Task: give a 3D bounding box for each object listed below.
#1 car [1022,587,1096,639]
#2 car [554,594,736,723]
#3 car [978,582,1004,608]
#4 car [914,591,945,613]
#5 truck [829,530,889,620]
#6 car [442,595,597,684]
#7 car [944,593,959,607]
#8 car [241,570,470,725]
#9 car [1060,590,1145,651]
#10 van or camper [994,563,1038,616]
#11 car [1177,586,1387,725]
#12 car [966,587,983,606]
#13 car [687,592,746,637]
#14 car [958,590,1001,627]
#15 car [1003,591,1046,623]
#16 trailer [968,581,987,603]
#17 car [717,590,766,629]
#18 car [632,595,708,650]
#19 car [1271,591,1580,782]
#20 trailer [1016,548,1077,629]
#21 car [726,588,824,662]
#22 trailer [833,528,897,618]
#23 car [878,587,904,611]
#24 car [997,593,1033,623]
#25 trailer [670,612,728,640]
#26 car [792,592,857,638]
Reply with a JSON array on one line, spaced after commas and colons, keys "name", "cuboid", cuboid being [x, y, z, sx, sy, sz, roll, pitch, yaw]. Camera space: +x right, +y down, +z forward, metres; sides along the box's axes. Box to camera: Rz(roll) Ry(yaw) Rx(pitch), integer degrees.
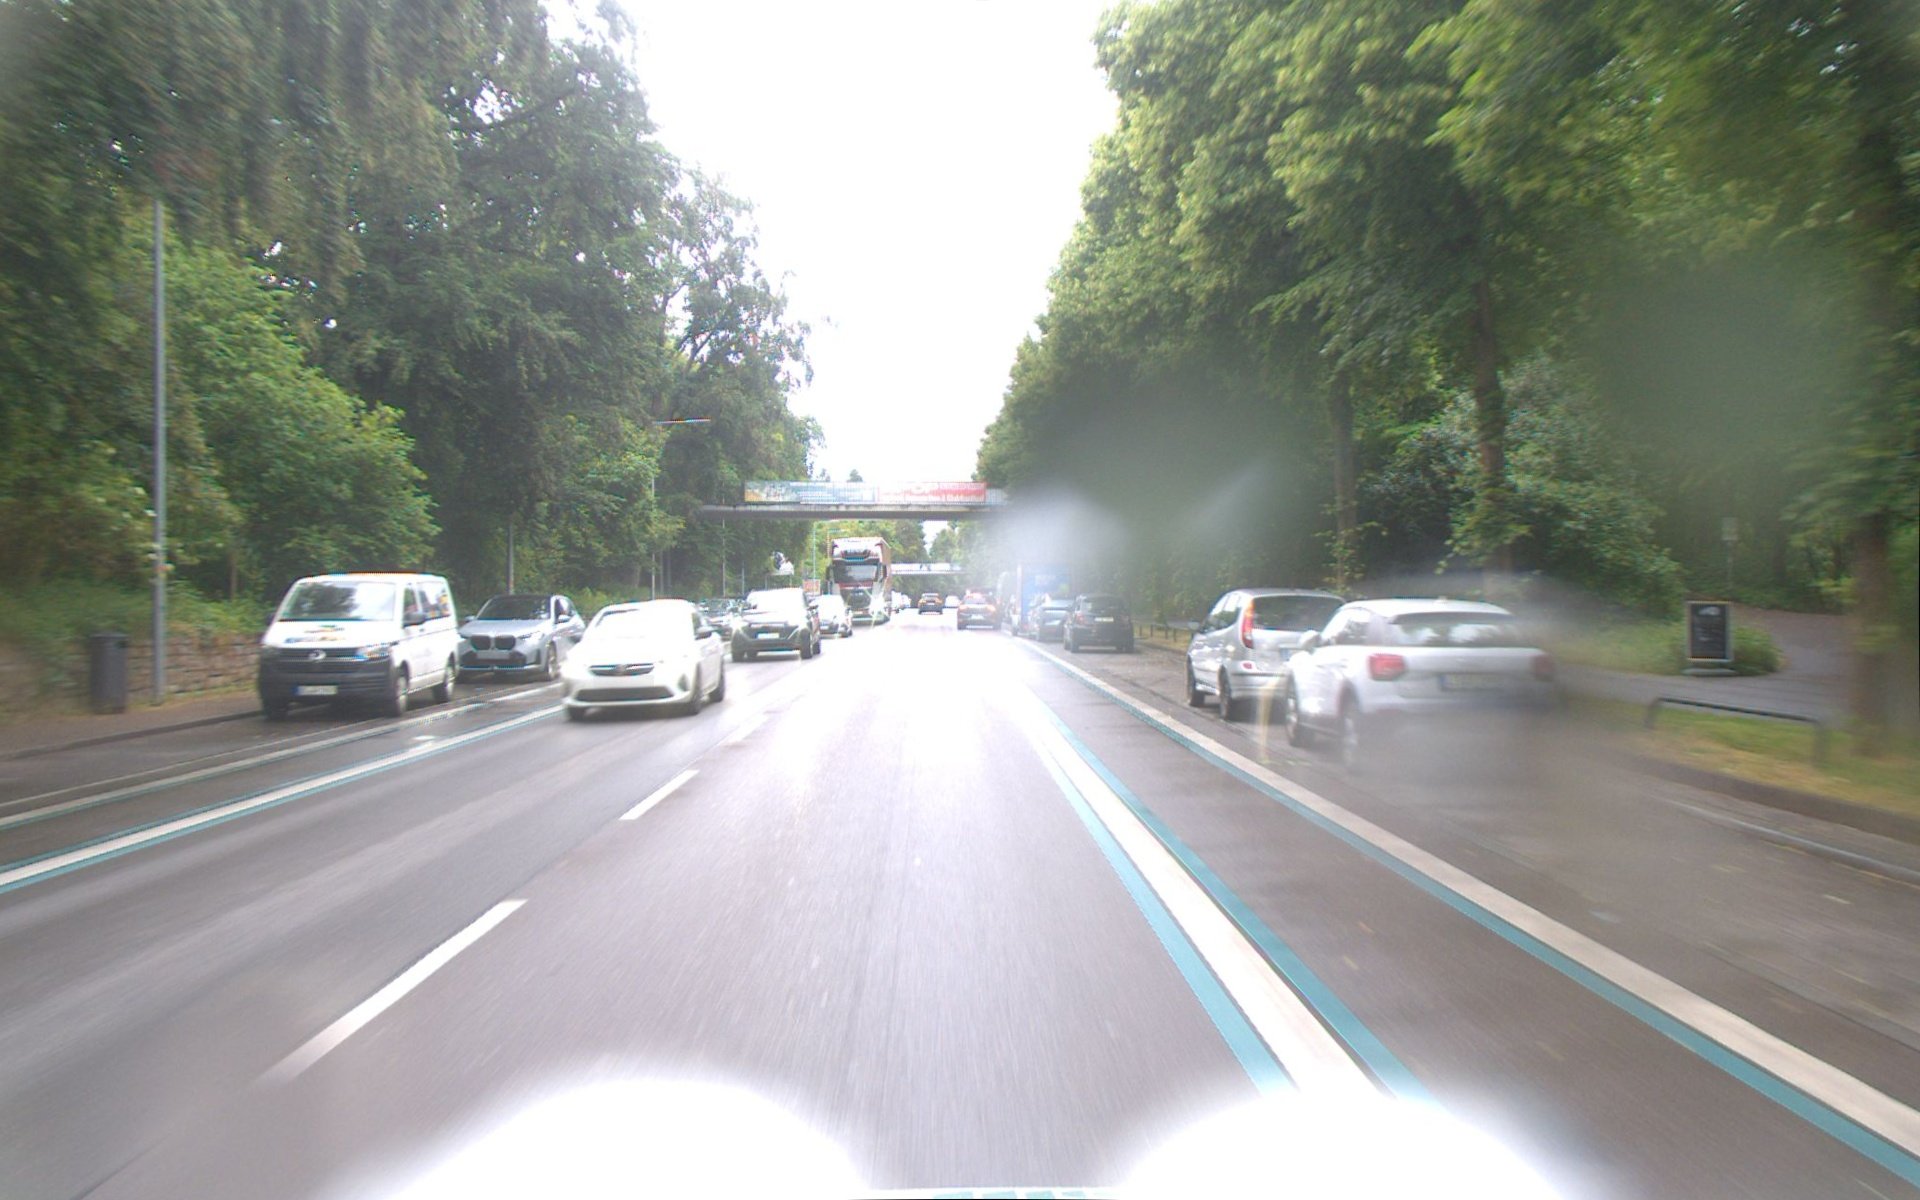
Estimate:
[{"name": "car", "cuboid": [3.173, 0.380, 53.830, 1.862, 1.574, 4.752, 1, 1, -3]}, {"name": "car", "cuboid": [-4.142, 0.708, 22.325, 1.740, 1.491, 4.061, -3, 0, -2]}, {"name": "car", "cuboid": [2.433, -0.401, 130.116, 1.887, 2.057, 4.663, 1, 0, -1]}, {"name": "car", "cuboid": [-2.187, 0.122, 118.777, 2.097, 1.518, 4.496, 0, 0, -3]}, {"name": "truck", "cuboid": [-4.891, -1.187, 80.690, 2.466, 4.117, 4.916, -3, 0, 0]}, {"name": "car", "cuboid": [-8.790, 0.734, 33.409, 1.969, 1.633, 4.778, 0, 0, -2]}, {"name": "car", "cuboid": [-0.980, -0.014, 190.746, 1.696, 1.611, 4.035, -1, 0, -1]}, {"name": "car", "cuboid": [-8.738, 0.594, 24.409, 1.935, 2.040, 5.013, 0, 1, -5]}, {"name": "car", "cuboid": [3.801, 0.521, 44.897, 1.788, 1.529, 4.570, -1, 0, -1]}, {"name": "van or camper", "cuboid": [3.025, -0.579, 90.787, 2.001, 2.777, 6.898, 1, 0, -2]}, {"name": "car", "cuboid": [4.069, 0.632, 21.671, 1.718, 1.624, 4.739, 0, 0, -1]}, {"name": "car", "cuboid": [1.656, -0.423, 190.280, 1.850, 2.164, 4.045, -1, 0, 0]}, {"name": "car", "cuboid": [-8.864, 0.500, 60.553, 1.795, 1.502, 4.037, -1, 1, -4]}, {"name": "car", "cuboid": [0.802, 0.331, 69.981, 1.781, 1.534, 4.139, 0, 0, 0]}, {"name": "car", "cuboid": [3.000, 0.290, 77.550, 1.652, 1.441, 4.195, 0, 0, -2]}, {"name": "trailer", "cuboid": [1.807, -0.816, 173.457, 1.845, 2.203, 3.807, -1, 0, 0]}, {"name": "car", "cuboid": [-9.400, 0.398, 71.431, 1.654, 1.573, 4.231, -1, 1, -2]}, {"name": "car", "cuboid": [-8.743, 0.634, 50.101, 1.753, 1.508, 3.980, -1, 1, -3]}, {"name": "car", "cuboid": [4.249, 0.699, 15.838, 1.663, 1.540, 4.469, 1, 0, 0]}, {"name": "trailer", "cuboid": [3.082, -0.406, 59.782, 1.913, 2.807, 4.006, 0, 0, -1]}, {"name": "car", "cuboid": [-4.429, 0.564, 40.153, 1.921, 1.645, 4.465, -2, 0, -1]}, {"name": "trailer", "cuboid": [-4.938, -1.384, 88.287, 2.633, 4.333, 12.767, -3, 0, -1]}, {"name": "car", "cuboid": [-5.219, -0.115, 125.522, 1.797, 1.695, 4.179, -3, 0, -1]}, {"name": "car", "cuboid": [2.754, 0.382, 83.639, 1.651, 1.441, 4.099, 0, 0, -1]}, {"name": "trailer", "cuboid": [-8.624, 0.838, 54.847, 1.512, 0.833, 3.303, -1, 0, -2]}, {"name": "car", "cuboid": [-4.748, 0.497, 58.628, 1.876, 1.482, 4.620, -3, 0, 0]}]
